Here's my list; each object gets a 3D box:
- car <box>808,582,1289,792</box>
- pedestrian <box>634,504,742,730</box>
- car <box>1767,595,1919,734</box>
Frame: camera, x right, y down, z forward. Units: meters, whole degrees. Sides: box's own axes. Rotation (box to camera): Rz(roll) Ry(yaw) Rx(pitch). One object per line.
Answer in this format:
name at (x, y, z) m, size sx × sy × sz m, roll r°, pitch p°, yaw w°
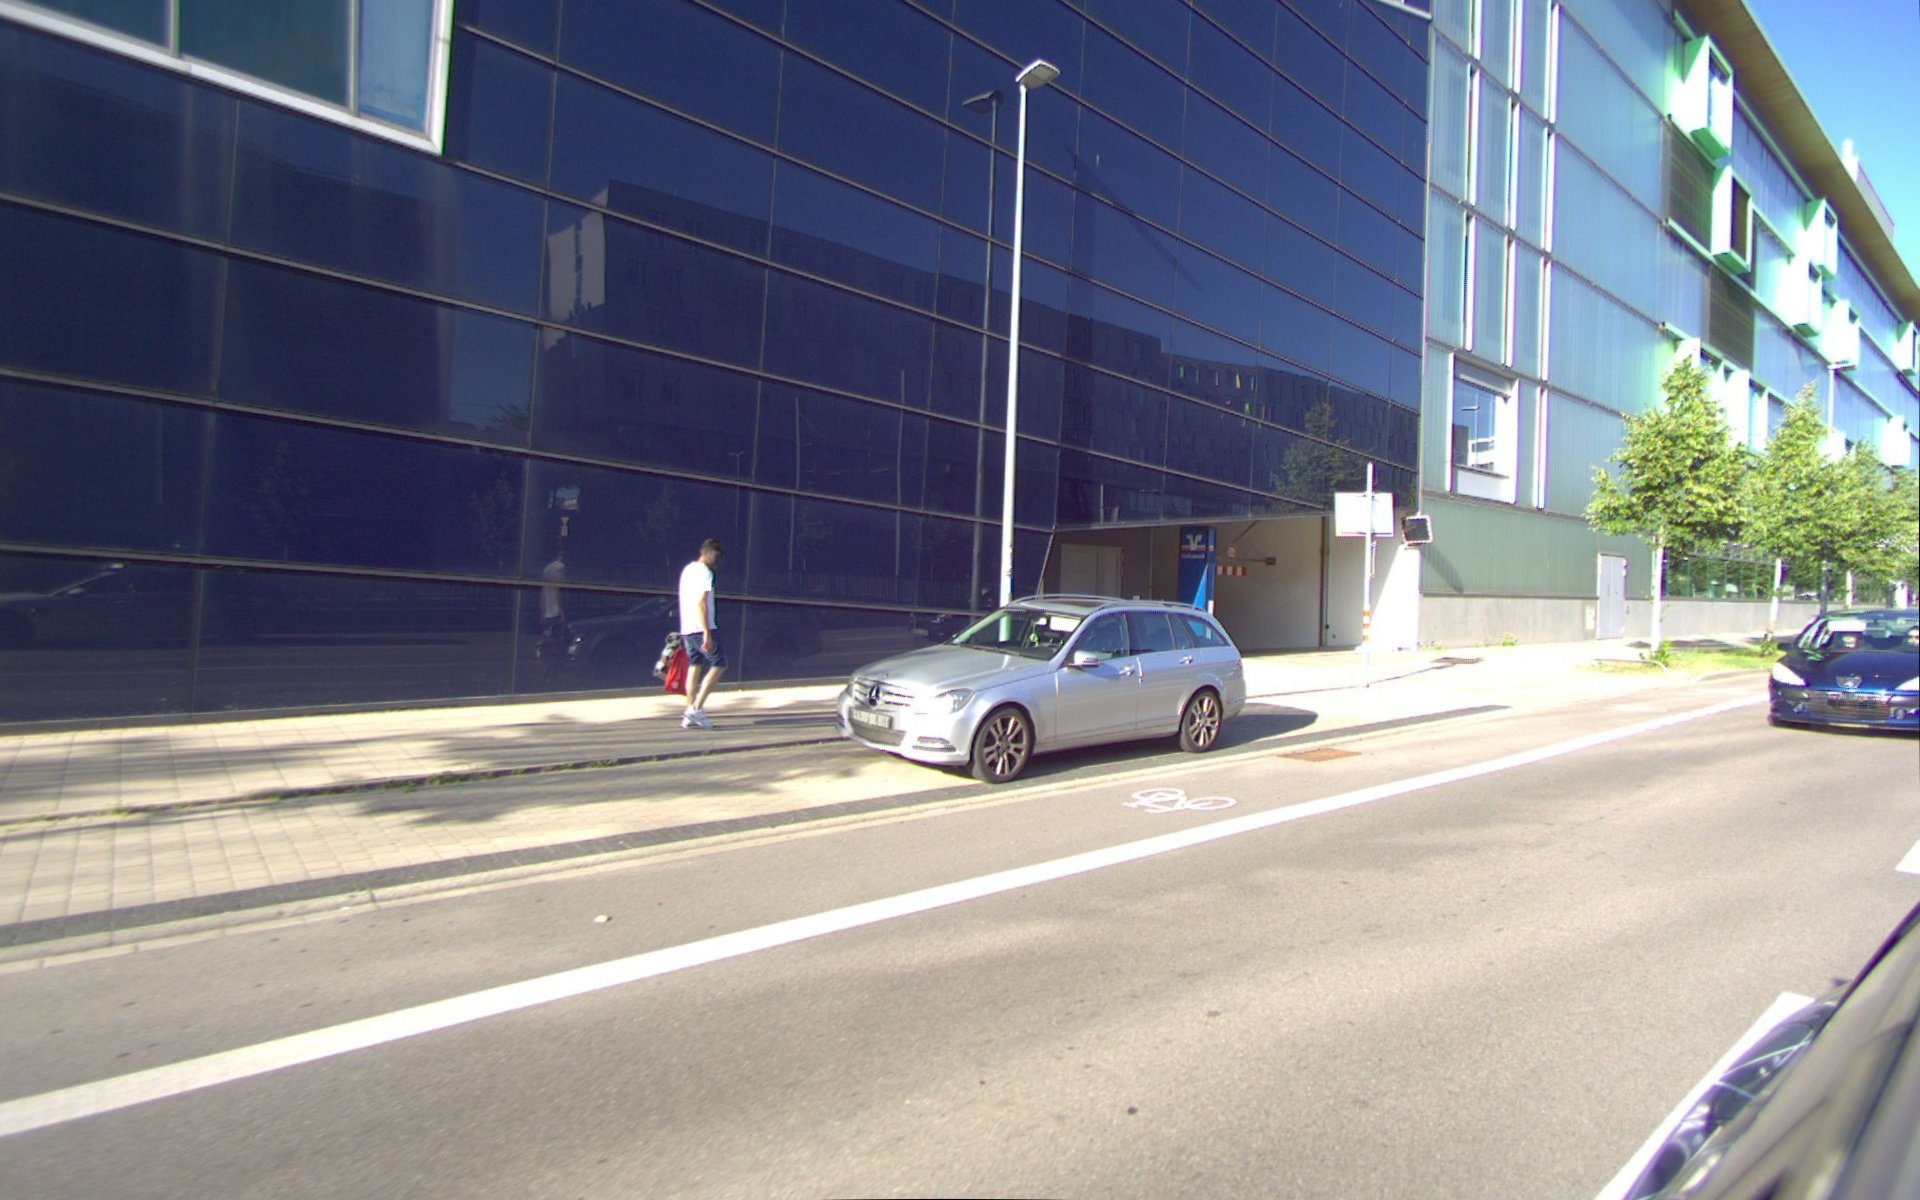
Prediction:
car at (1.065, 0.654, 9.855) m, size 4.769 × 1.499 × 1.857 m, roll 0°, pitch 3°, yaw -41°
pedestrian at (-2.603, 0.137, 9.669) m, size 0.677 × 2.038 × 0.838 m, roll 1°, pitch 2°, yaw -39°
car at (12.152, 0.718, 12.936) m, size 4.520 × 1.546 × 1.803 m, roll 0°, pitch -1°, yaw -37°
